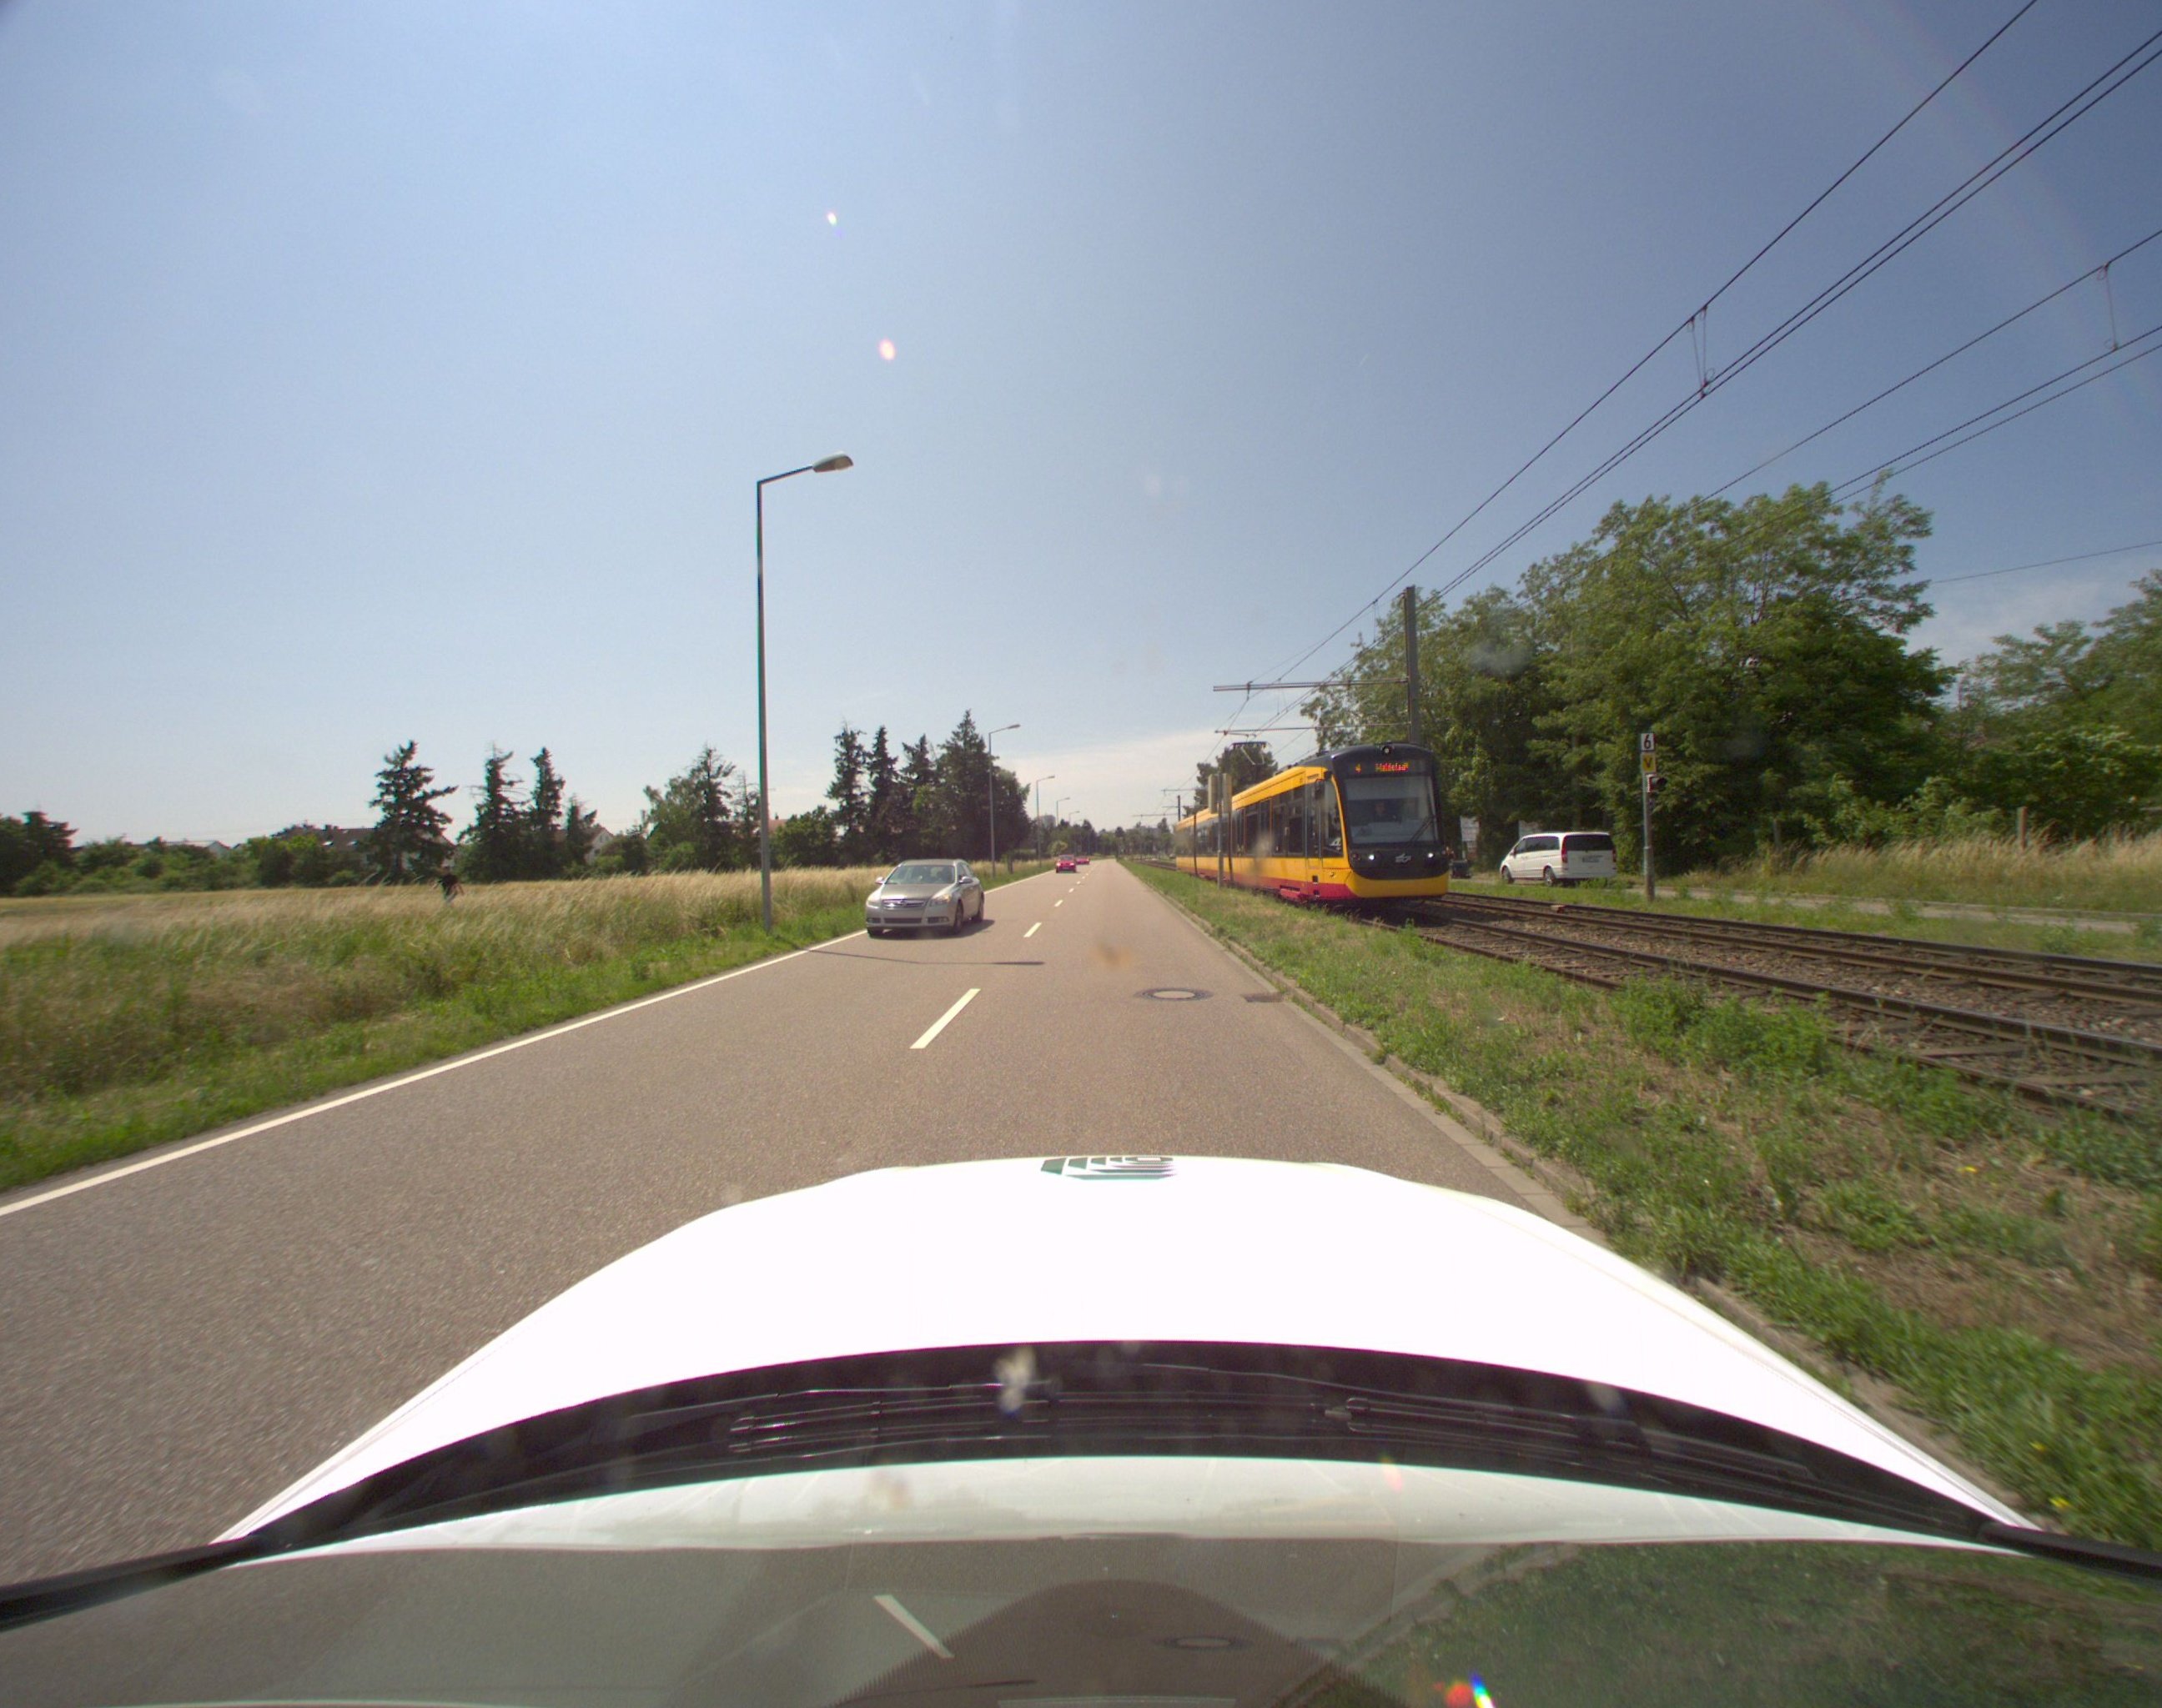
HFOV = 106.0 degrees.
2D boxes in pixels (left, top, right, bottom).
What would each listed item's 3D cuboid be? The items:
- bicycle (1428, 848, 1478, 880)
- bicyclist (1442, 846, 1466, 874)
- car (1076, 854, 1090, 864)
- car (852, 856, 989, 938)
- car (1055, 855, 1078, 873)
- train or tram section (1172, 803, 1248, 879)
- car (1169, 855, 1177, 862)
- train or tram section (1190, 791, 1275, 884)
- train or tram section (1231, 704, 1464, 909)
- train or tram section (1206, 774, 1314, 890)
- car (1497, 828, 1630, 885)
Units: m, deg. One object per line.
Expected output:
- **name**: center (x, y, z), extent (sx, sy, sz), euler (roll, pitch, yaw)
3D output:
- **bicycle**: center (18.108, 0.502, 39.773), extent (0.924, 1.430, 3.386), euler (-2, -1, 2)
- **bicyclist**: center (18.205, 0.301, 39.781), extent (0.699, 1.338, 0.904), euler (-2, -1, 2)
- **car**: center (0.256, 0.781, 115.522), extent (1.800, 1.286, 4.287), euler (-2, -1, 2)
- **car**: center (-3.223, 0.841, 17.352), extent (1.827, 1.467, 4.679), euler (-2, -1, 2)
- **car**: center (-1.171, 0.843, 67.873), extent (1.639, 1.400, 3.845), euler (-2, -1, 2)
- **train or tram section**: center (7.012, -0.549, 45.953), extent (2.755, 3.689, 11.189), euler (-2, -1, 2)
- **car**: center (24.738, 1.187, 218.618), extent (1.908, 1.662, 4.002), euler (-2, -1, 2)
- **train or tram section**: center (6.703, -0.622, 36.998), extent (2.691, 3.766, 6.731), euler (-2, -1, 2)
- **train or tram section**: center (6.067, -0.800, 21.066), extent (2.420, 3.766, 11.562), euler (-2, -1, 2)
- **train or tram section**: center (6.425, -0.666, 30.254), extent (2.551, 3.714, 6.731), euler (-2, -1, 2)
- **car**: center (17.070, 0.121, 29.140), extent (1.986, 1.802, 4.796), euler (-2, -1, 2)
